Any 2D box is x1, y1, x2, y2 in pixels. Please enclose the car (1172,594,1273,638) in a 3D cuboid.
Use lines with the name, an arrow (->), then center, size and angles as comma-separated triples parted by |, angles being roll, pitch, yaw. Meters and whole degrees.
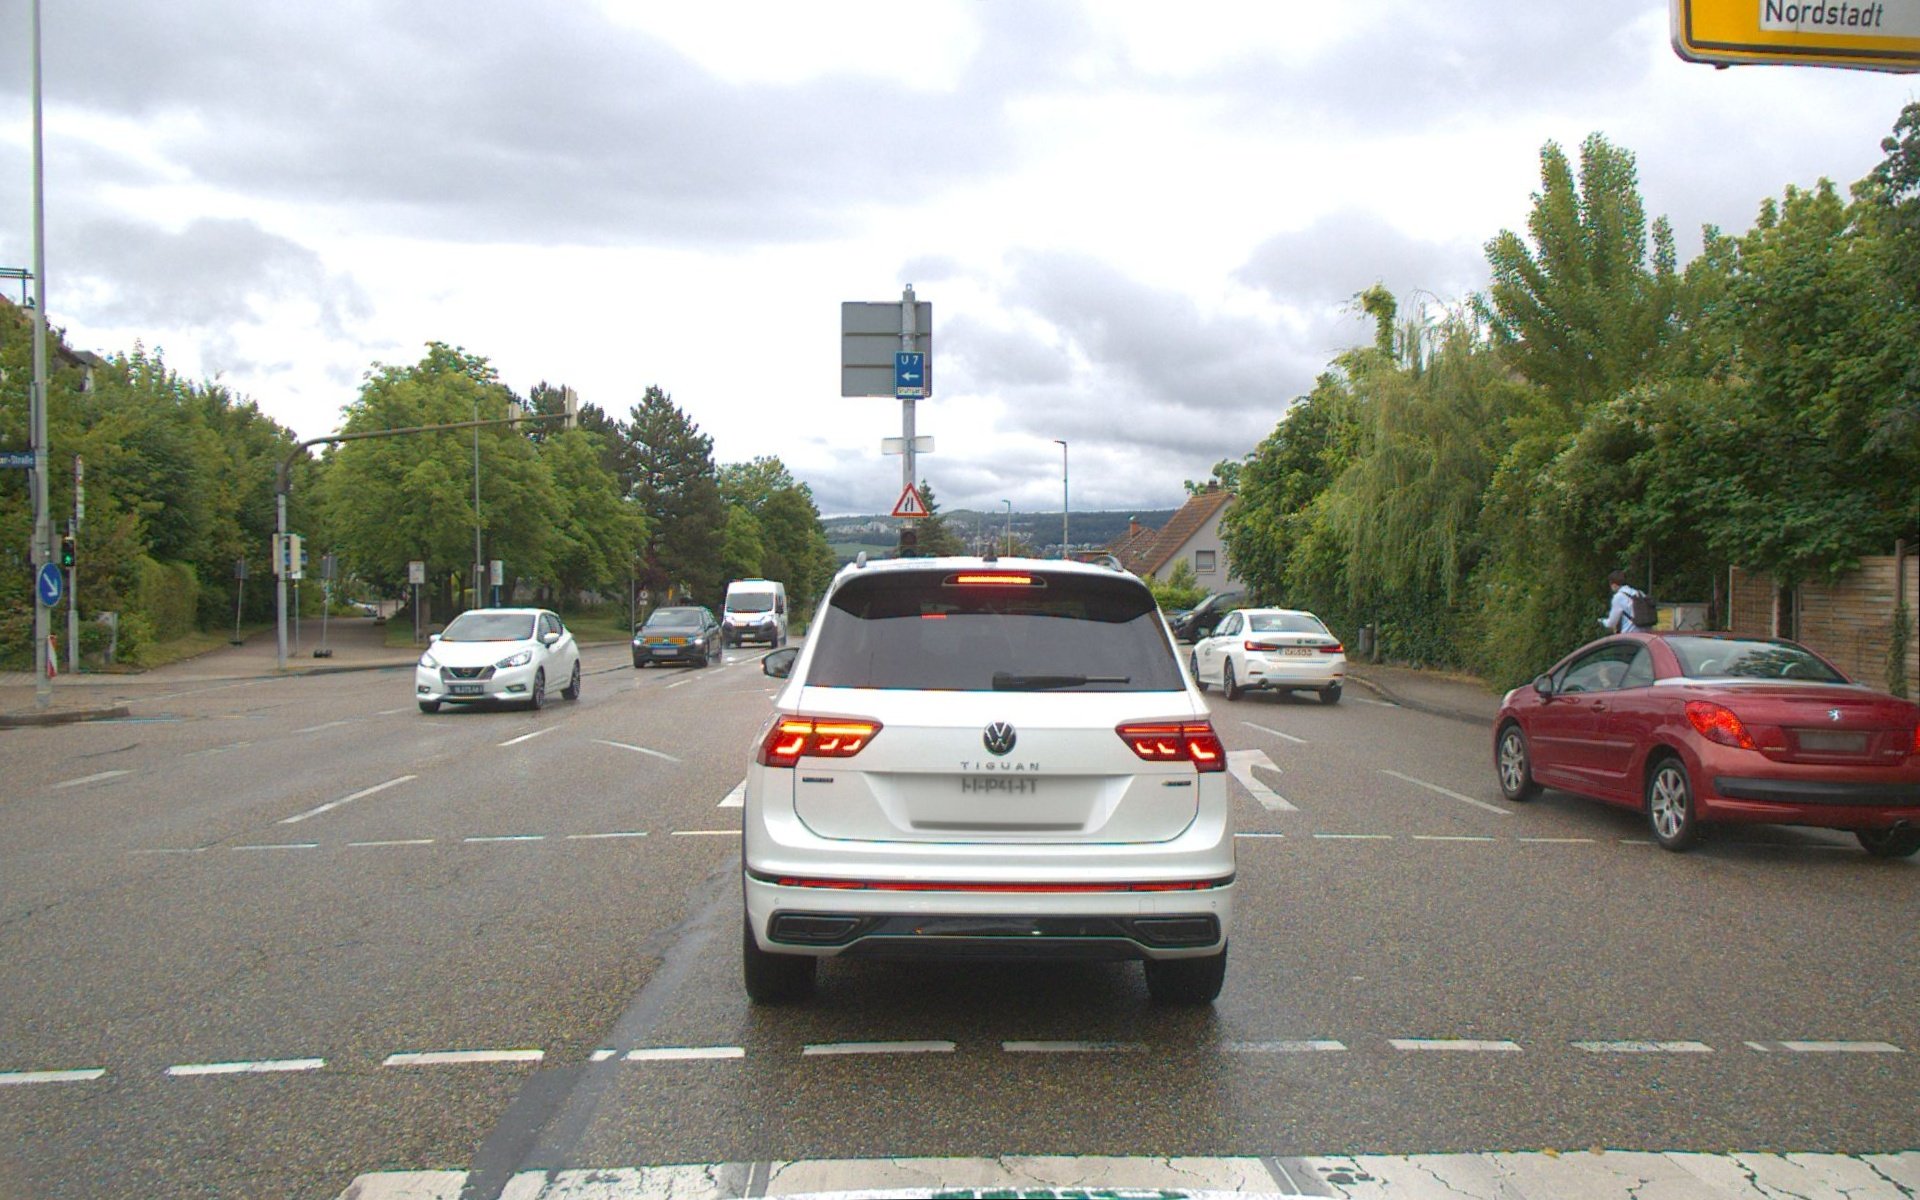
car -> 10.212, 0.622, 64.440 | 3.556, 1.655, 1.789 | 1, 0, -5

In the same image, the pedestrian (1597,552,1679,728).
pedestrian -> 7.969, 0.463, 19.469 | 0.642, 2.037, 0.717 | 0, 0, -4

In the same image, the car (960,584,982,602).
car -> 0.954, -0.622, 145.723 | 1.813, 1.602, 3.999 | -1, 0, -1

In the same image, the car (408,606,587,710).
car -> -6.865, 0.808, 24.903 | 1.711, 1.421, 3.801 | 0, 0, -2

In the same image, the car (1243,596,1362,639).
car -> 11.710, 0.604, 56.637 | 3.644, 1.420, 1.725 | 0, -1, -8

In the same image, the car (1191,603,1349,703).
car -> 5.051, 0.821, 27.482 | 1.631, 1.452, 4.303 | 2, 0, -2

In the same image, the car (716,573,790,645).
car -> -7.841, 0.298, 63.136 | 2.251, 2.572, 5.771 | -1, 0, -2

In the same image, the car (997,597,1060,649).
car -> 2.232, 0.730, 54.787 | 1.701, 1.602, 4.066 | 1, 0, -3

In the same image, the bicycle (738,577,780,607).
bicycle -> -8.058, -0.308, 66.327 | 1.603, 1.145, 0.468 | -2, 1, -3

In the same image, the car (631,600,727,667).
car -> -7.026, 0.802, 41.743 | 1.740, 1.528, 4.470 | -2, 0, -2

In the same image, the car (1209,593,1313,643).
car -> 11.290, 0.664, 62.141 | 3.556, 1.777, 1.707 | 0, 2, -5

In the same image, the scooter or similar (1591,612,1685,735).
scooter or similar -> 7.956, 0.842, 19.460 | 0.452, 1.385, 1.383 | 0, 0, -4

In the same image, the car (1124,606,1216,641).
car -> 8.784, 0.976, 69.369 | 3.613, 1.394, 1.518 | 1, -2, -3

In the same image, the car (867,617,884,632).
car -> -10.561, 3.050, 207.283 | 1.953, 1.758, 3.999 | 2, 0, -1

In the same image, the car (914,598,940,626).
car -> -2.149, 0.755, 106.992 | 1.677, 1.789, 3.800 | 0, 0, -2

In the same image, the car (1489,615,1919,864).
car -> 5.290, 0.867, 11.851 | 1.593, 1.427, 3.687 | 1, 0, -4

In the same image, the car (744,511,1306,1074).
car -> 0.153, 0.608, 7.375 | 1.727, 1.725, 4.271 | 2, 0, -2

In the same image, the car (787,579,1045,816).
car -> -0.317, 0.672, 13.396 | 1.762, 1.617, 3.926 | 1, 0, 0
